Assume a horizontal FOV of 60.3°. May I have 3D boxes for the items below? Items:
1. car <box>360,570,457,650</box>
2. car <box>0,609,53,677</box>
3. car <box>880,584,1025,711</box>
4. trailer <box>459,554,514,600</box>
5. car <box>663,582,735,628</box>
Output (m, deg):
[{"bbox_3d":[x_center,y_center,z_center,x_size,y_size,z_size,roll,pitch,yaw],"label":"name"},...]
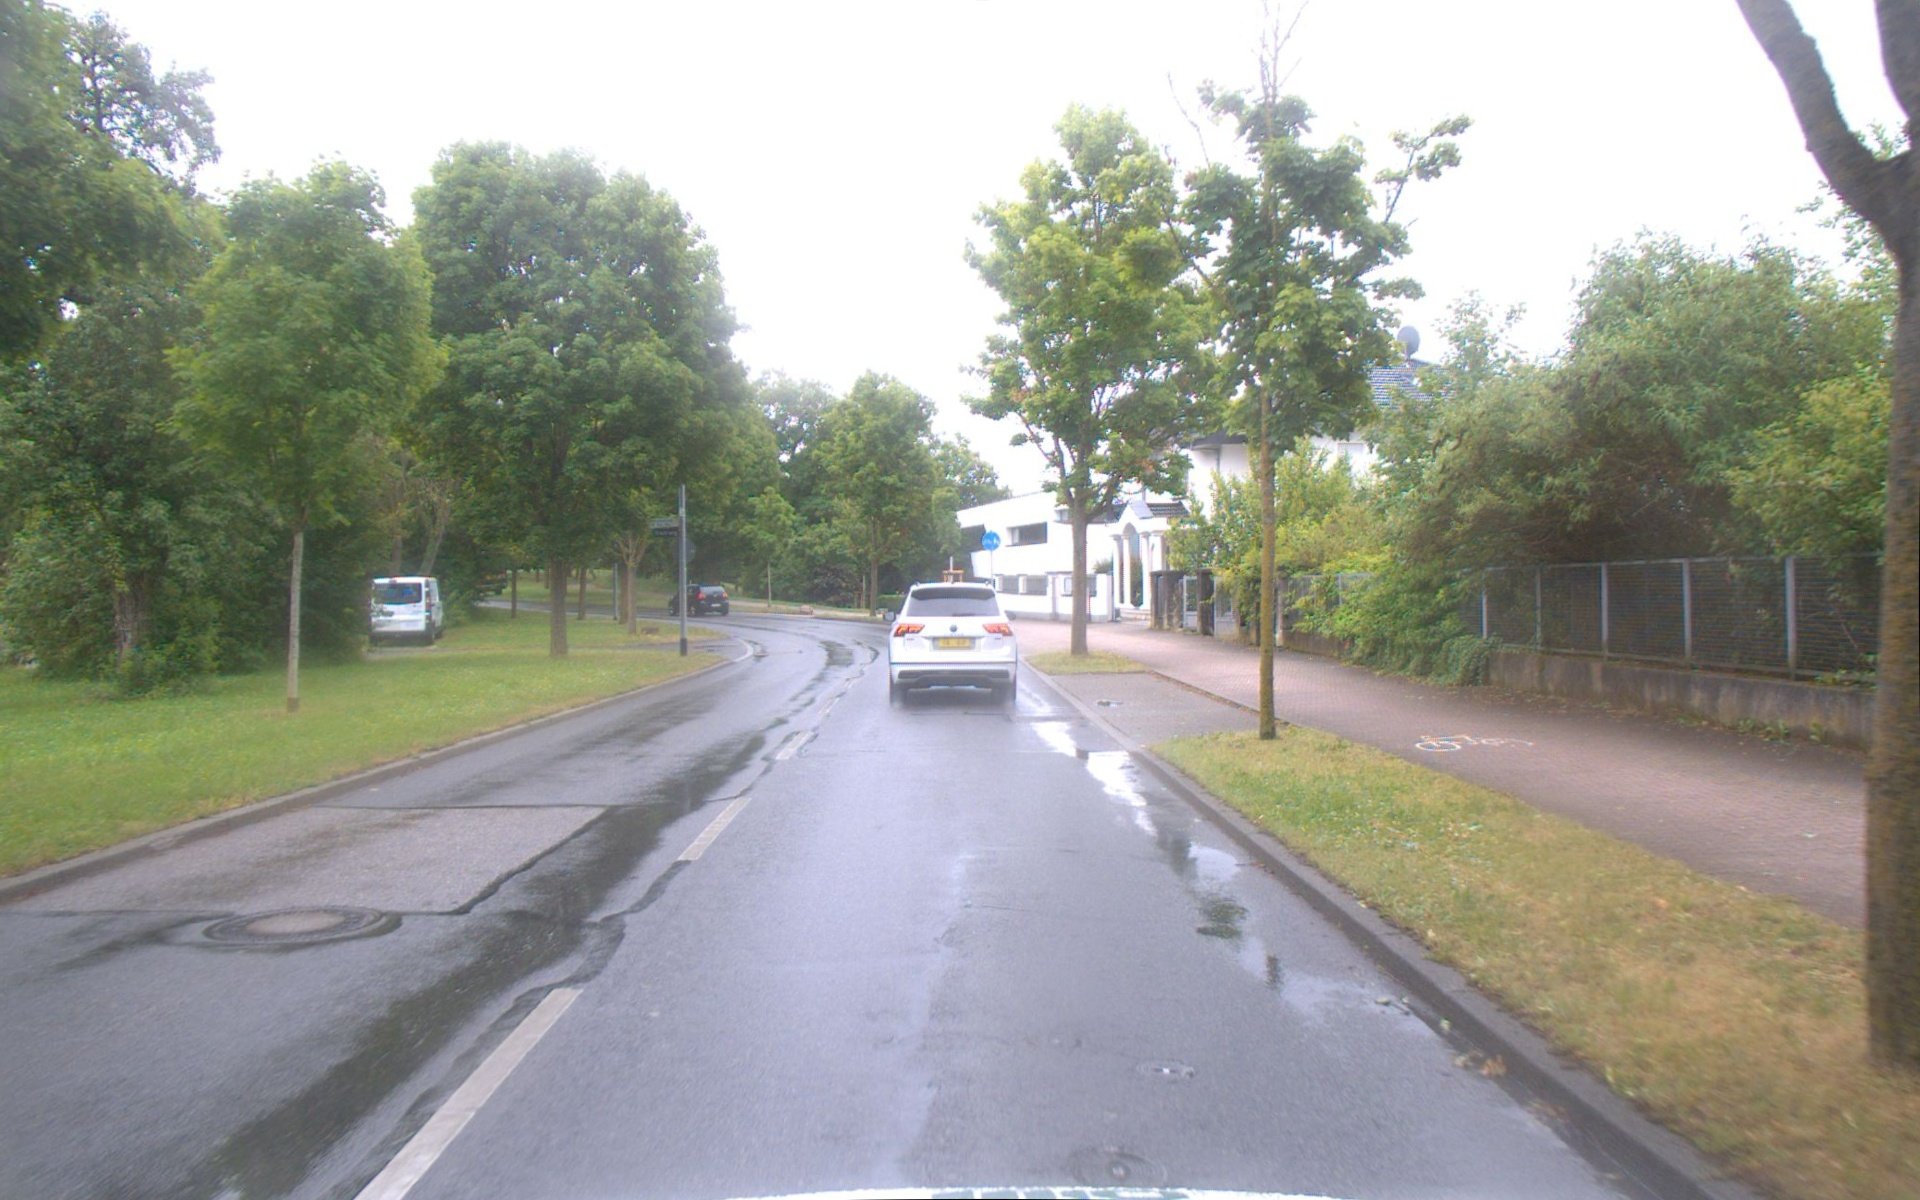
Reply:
[{"bbox_3d":[-16.803,0.238,50.657,2.090,2.020,5.460,-2,4,-12],"label":"car"},{"bbox_3d":[-23.209,1.028,38.777,1.757,1.564,4.993,-1,-1,-9],"label":"car"},{"bbox_3d":[-0.110,0.619,24.267,1.934,1.681,4.177,1,0,0],"label":"car"},{"bbox_3d":[-31.848,-1.594,111.091,1.975,2.855,5.549,-7,5,-31],"label":"trailer"},{"bbox_3d":[-12.157,0.231,76.932,1.883,2.049,3.900,1,0,-32],"label":"car"}]
